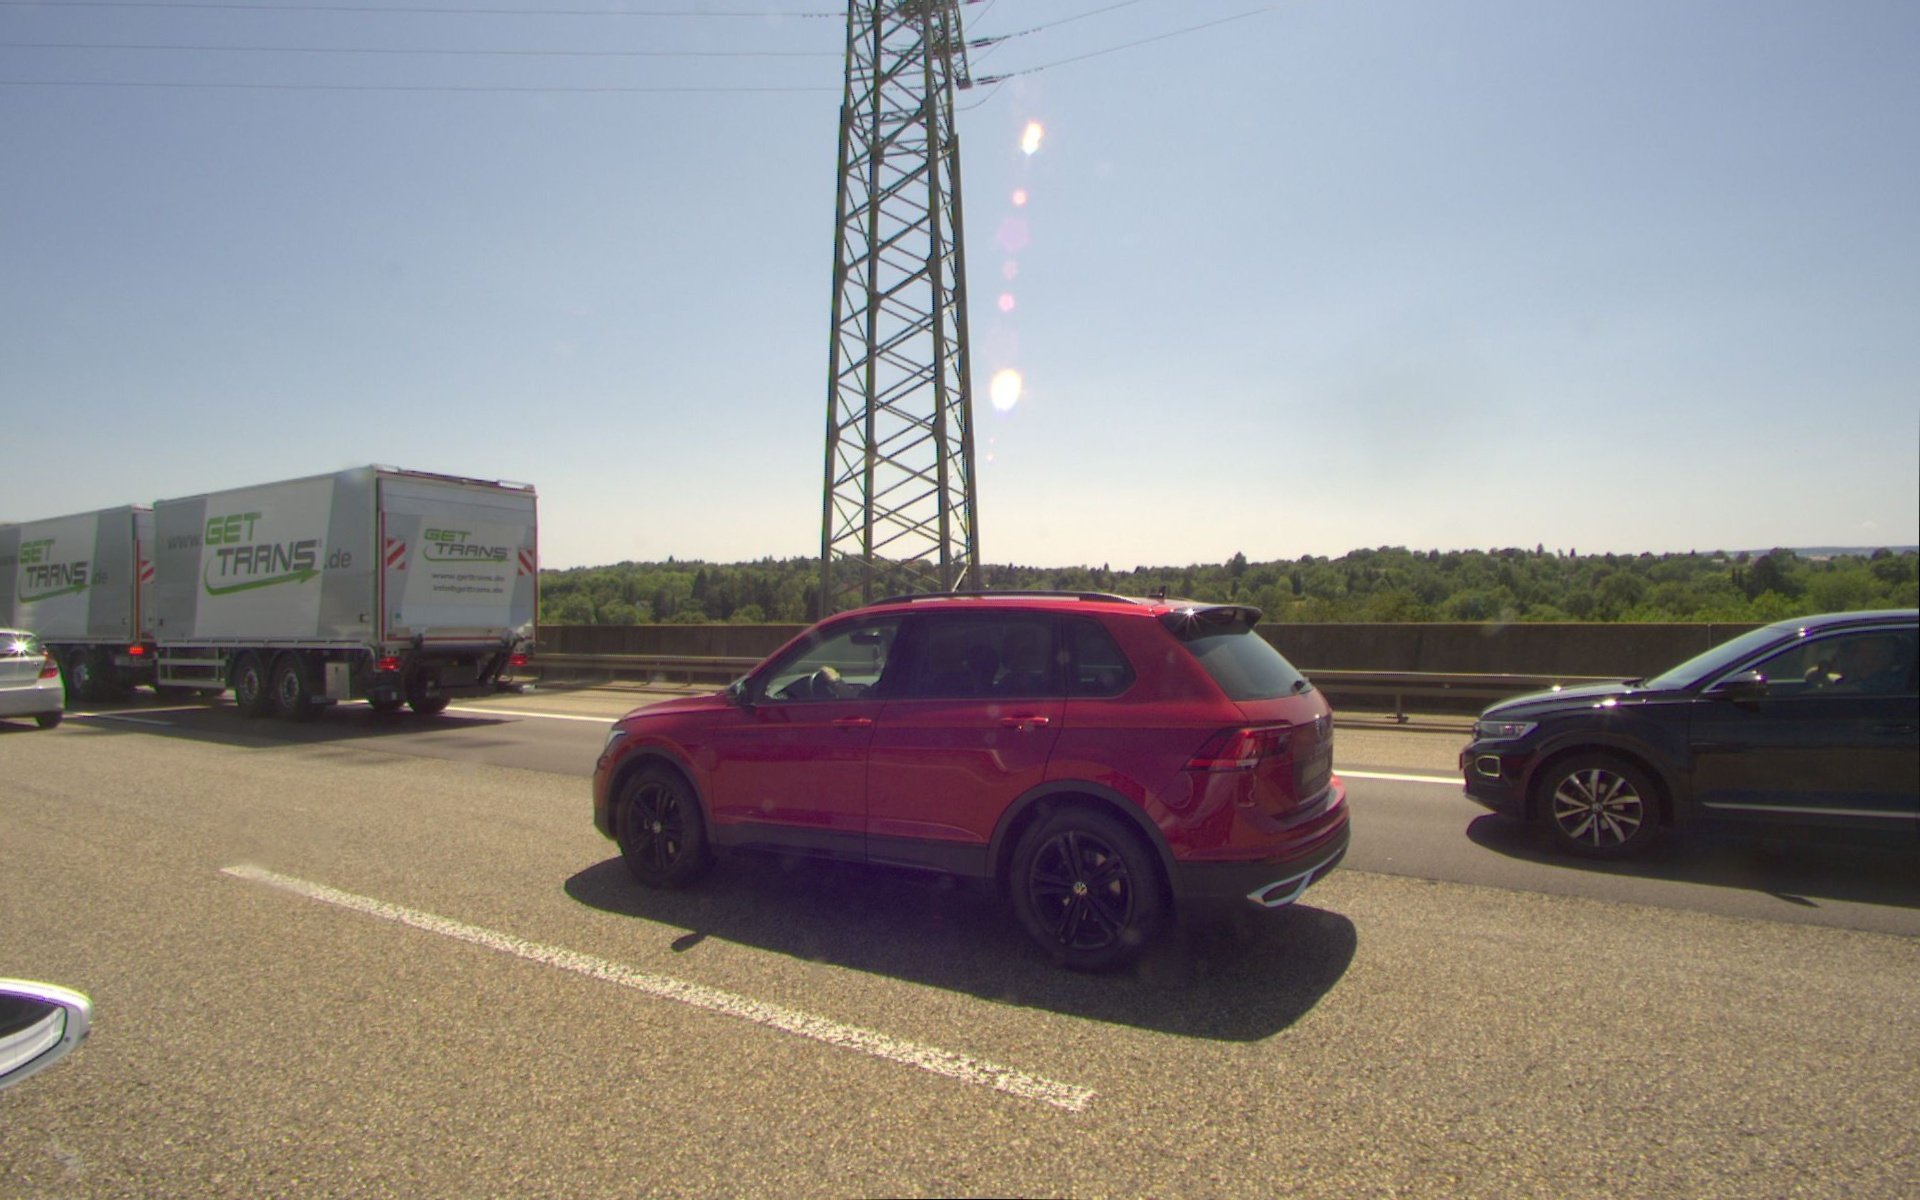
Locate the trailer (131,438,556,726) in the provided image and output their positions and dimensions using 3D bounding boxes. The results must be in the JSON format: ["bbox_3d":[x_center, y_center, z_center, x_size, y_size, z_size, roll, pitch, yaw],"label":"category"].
[{"bbox_3d":[-10.693,-0.116,17.053,8.097,3.941,2.894,-1,-2,32],"label":"trailer"}]

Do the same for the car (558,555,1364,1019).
[{"bbox_3d":[-0.158,0.764,5.552,4.224,1.700,1.706,-1,-2,32],"label":"car"}]

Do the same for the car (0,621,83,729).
[{"bbox_3d":[-14.931,1.083,14.865,3.875,1.489,1.813,-1,-2,31],"label":"car"}]

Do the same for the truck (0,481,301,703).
[{"bbox_3d":[-18.614,0.018,21.978,10.458,3.984,2.847,-1,-2,32],"label":"truck"}]

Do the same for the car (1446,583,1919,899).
[{"bbox_3d":[5.342,0.781,6.193,4.059,1.676,1.706,-1,-2,32],"label":"car"}]

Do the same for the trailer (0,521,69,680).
[{"bbox_3d":[-28.680,0.113,28.341,8.850,4.140,2.679,-1,-2,31],"label":"trailer"}]
